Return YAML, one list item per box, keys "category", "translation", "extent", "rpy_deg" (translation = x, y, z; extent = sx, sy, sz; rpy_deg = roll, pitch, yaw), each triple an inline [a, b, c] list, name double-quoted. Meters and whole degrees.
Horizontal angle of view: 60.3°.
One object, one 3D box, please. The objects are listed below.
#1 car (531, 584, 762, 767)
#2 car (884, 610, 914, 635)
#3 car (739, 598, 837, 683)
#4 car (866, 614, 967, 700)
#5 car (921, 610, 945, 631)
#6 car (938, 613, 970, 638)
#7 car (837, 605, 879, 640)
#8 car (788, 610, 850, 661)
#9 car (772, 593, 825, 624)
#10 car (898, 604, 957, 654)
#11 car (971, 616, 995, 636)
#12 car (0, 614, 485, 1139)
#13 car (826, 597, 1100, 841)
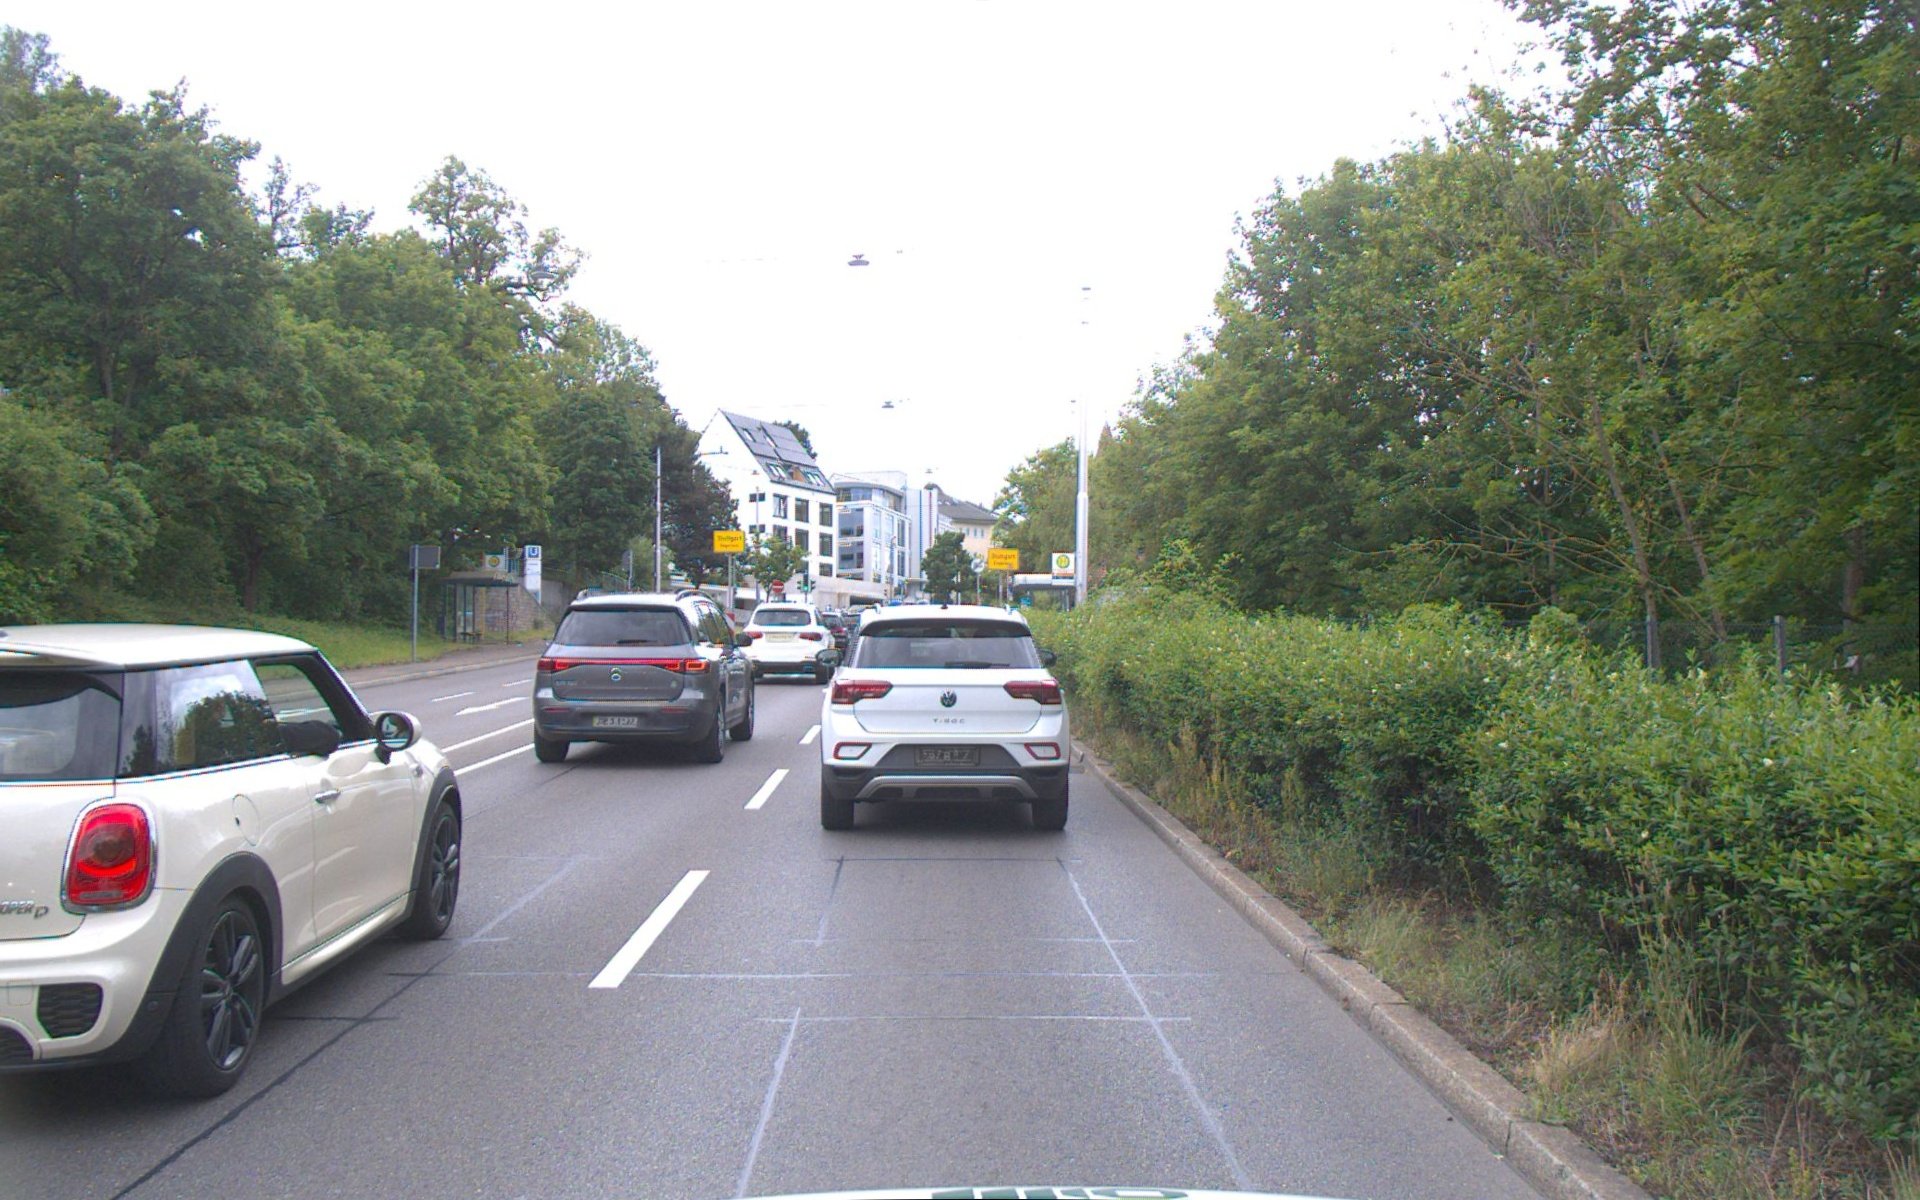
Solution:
- category: "car"
  translation: [-3.180, 0.716, 17.639]
  extent: [1.776, 1.681, 4.633]
  rpy_deg: [0, 0, -3]
- category: "car"
  translation: [-3.798, 1.392, 102.778]
  extent: [1.821, 1.527, 4.053]
  rpy_deg: [0, 0, -3]
- category: "car"
  translation: [-3.592, 0.827, 35.226]
  extent: [1.821, 1.681, 4.633]
  rpy_deg: [0, 0, -3]
- category: "car"
  translation: [-0.891, 1.053, 32.048]
  extent: [1.821, 1.527, 4.053]
  rpy_deg: [0, 0, -3]
- category: "car"
  translation: [-2.081, 1.572, 127.588]
  extent: [1.820, 1.527, 4.054]
  rpy_deg: [-1, 0, -2]
- category: "car"
  translation: [-0.404, 1.553, 102.331]
  extent: [1.821, 1.527, 4.053]
  rpy_deg: [0, 0, -3]
- category: "car"
  translation: [-4.571, 0.992, 74.649]
  extent: [1.821, 1.527, 4.053]
  rpy_deg: [0, 0, -3]
- category: "car"
  translation: [-4.464, 1.101, 52.791]
  extent: [1.821, 1.527, 4.053]
  rpy_deg: [0, 0, -3]
- category: "car"
  translation: [-13.878, 0.710, 142.819]
  extent: [2.184, 2.613, 7.427]
  rpy_deg: [0, 0, 14]
- category: "car"
  translation: [-1.138, 0.965, 56.239]
  extent: [1.835, 1.527, 4.553]
  rpy_deg: [3, -1, -2]
- category: "car"
  translation: [1.785, 1.992, 127.841]
  extent: [1.819, 1.527, 4.056]
  rpy_deg: [-1, 0, 1]
- category: "car"
  translation: [-3.034, 0.771, 6.250]
  extent: [1.595, 1.418, 3.564]
  rpy_deg: [0, 0, -3]
- category: "car"
  translation: [-0.067, 0.785, 12.631]
  extent: [1.775, 1.566, 3.687]
  rpy_deg: [0, 0, -3]
